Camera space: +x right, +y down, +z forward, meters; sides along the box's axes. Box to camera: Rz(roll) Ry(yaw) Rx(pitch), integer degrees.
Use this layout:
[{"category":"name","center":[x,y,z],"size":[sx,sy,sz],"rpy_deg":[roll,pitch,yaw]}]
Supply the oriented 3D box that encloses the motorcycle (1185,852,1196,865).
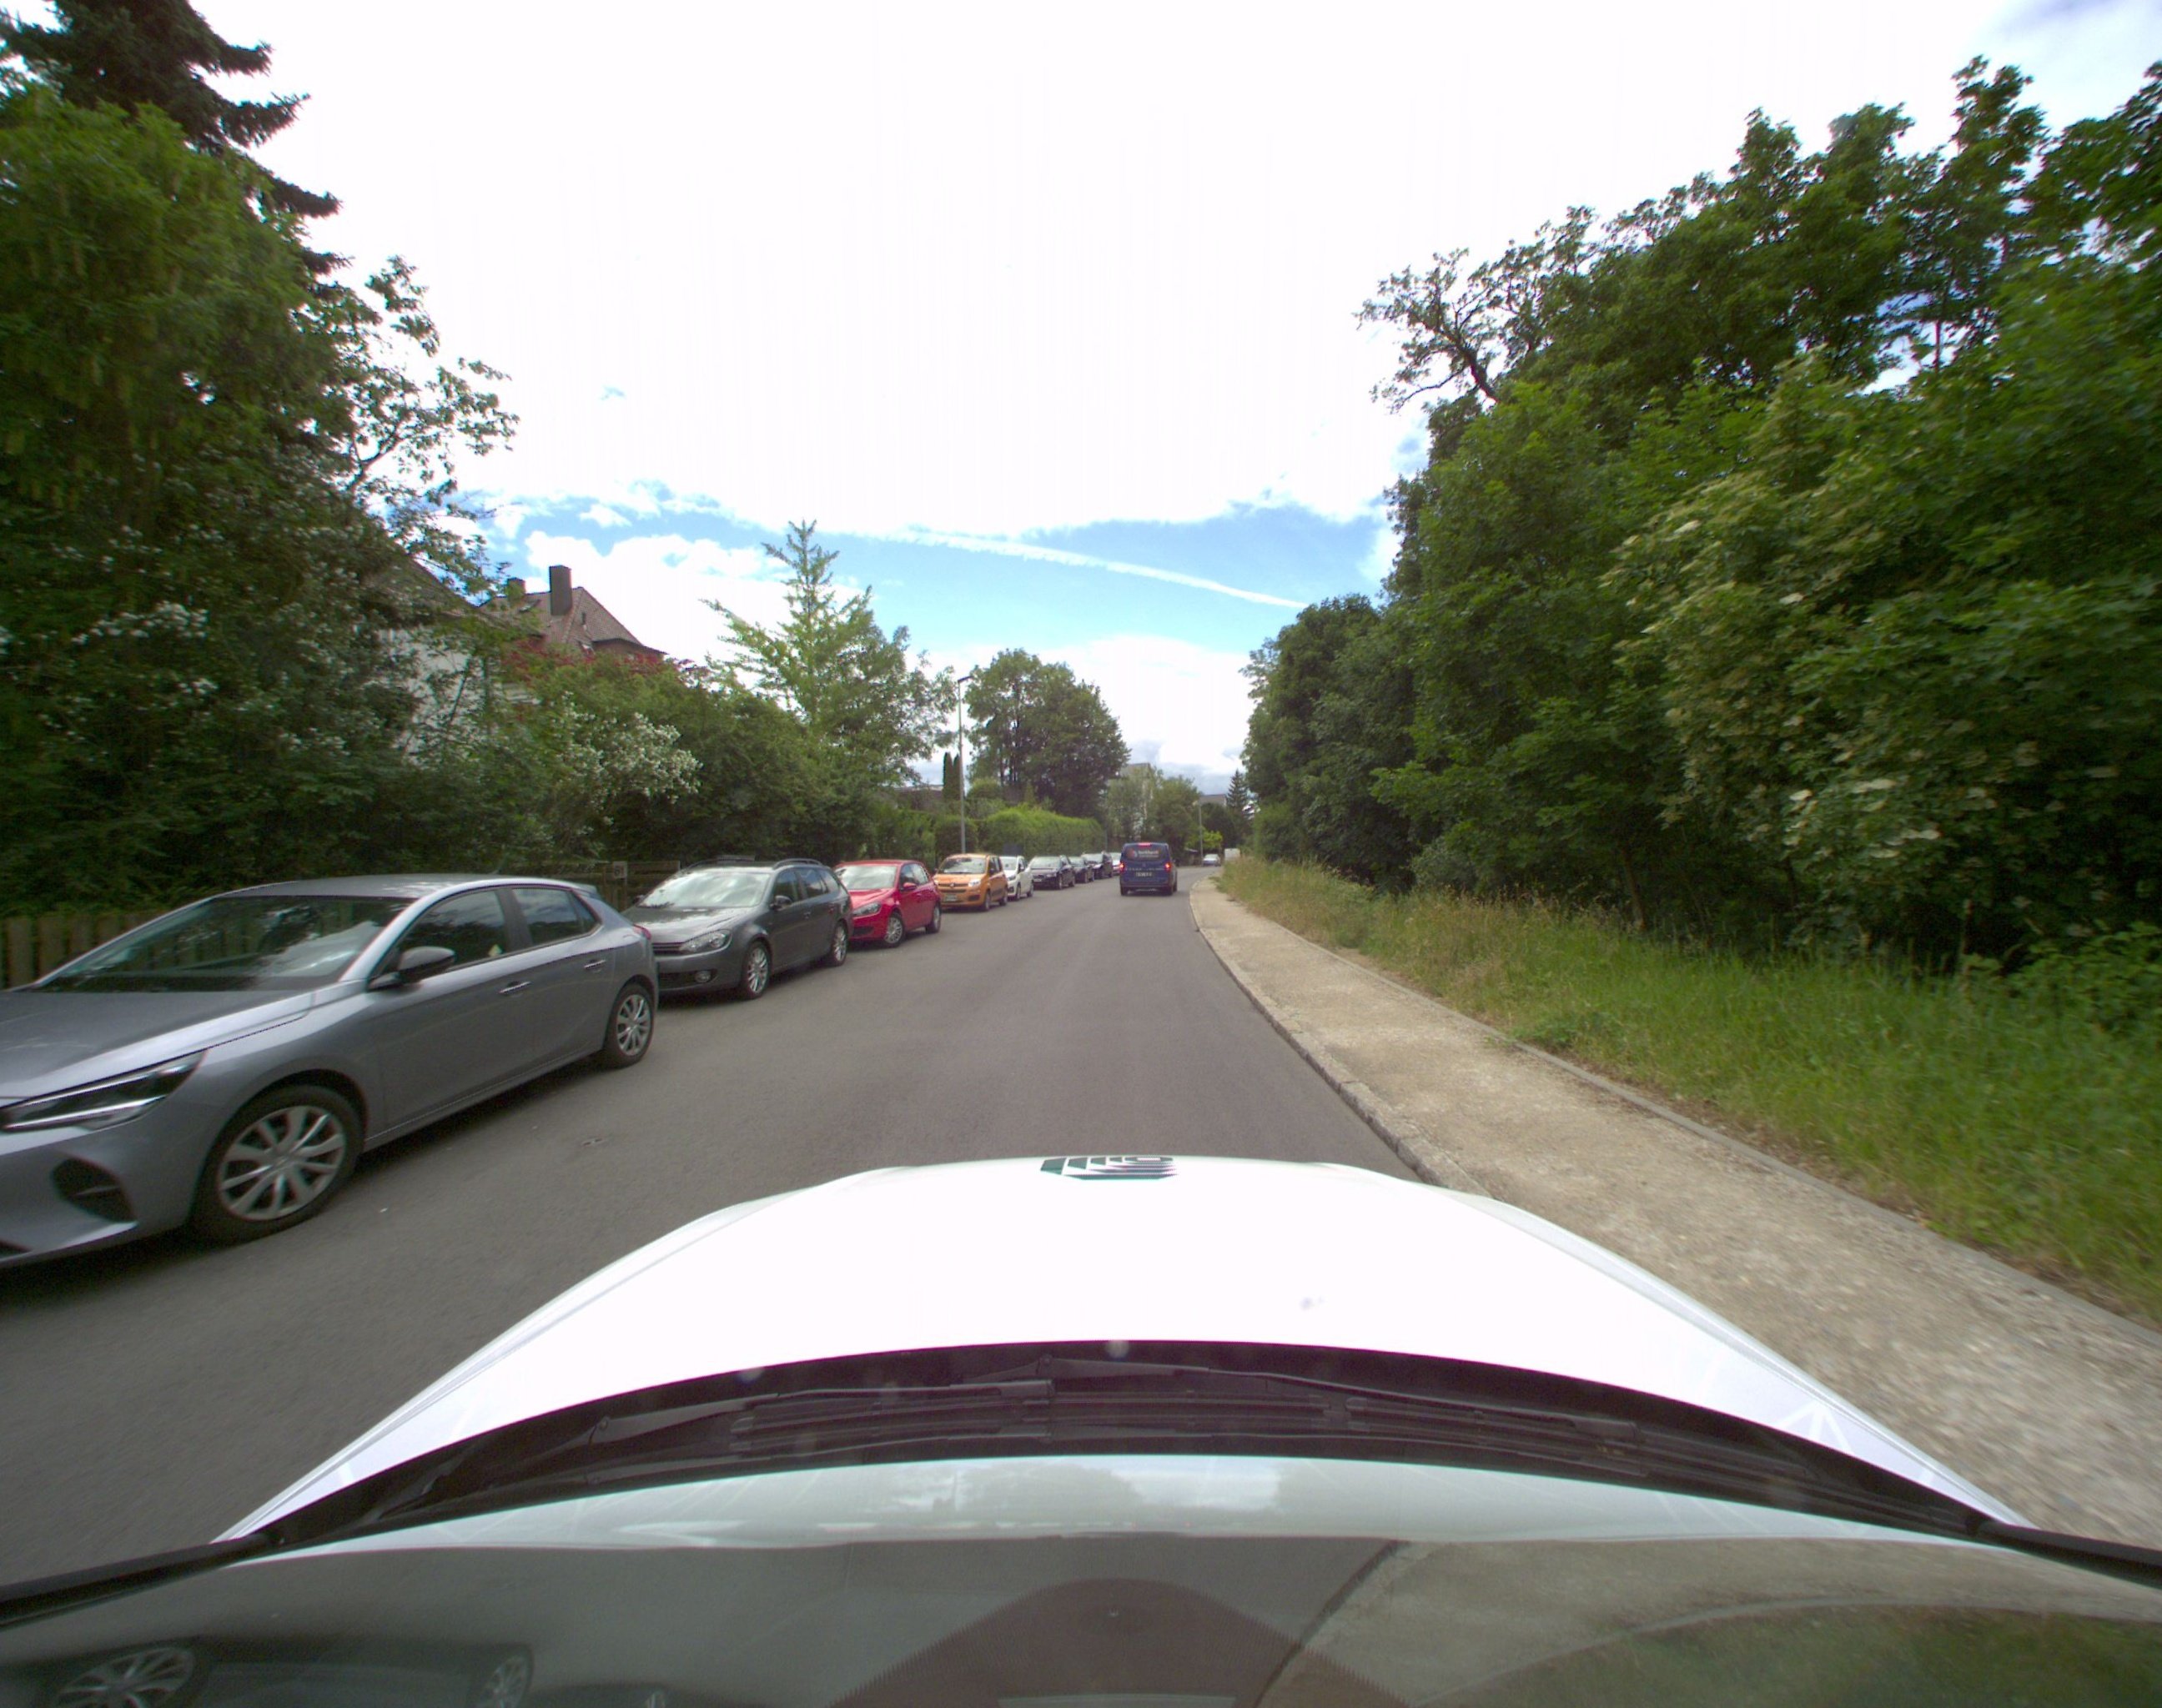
[{"category":"motorcycle","center":[13.543,0.561,100.616],"size":[0.803,1.485,2.910],"rpy_deg":[0,-1,21]}]

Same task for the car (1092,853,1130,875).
[{"category":"car","center":[1.966,0.614,52.378],"size":[1.763,1.374,4.354],"rpy_deg":[0,0,11]}]

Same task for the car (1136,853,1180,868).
[{"category":"car","center":[7.421,0.614,77.962],"size":[4.144,1.447,1.743],"rpy_deg":[0,-1,7]}]

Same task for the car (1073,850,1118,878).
[{"category":"car","center":[0.891,0.549,47.031],"size":[1.645,1.533,4.490],"rpy_deg":[0,0,13]}]

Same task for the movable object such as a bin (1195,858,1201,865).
[{"category":"movable object such as a bin","center":[14.715,0.990,102.439],"size":[0.585,0.909,0.704],"rpy_deg":[0,-1,25]}]

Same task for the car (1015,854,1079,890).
[{"category":"car","center":[-1.353,0.723,34.719],"size":[1.707,1.385,4.676],"rpy_deg":[-1,0,10]}]

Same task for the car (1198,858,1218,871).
[{"category":"car","center":[15.173,1.279,97.033],"size":[1.692,1.468,4.095],"rpy_deg":[0,-1,19]}]

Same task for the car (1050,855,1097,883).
[{"category":"car","center":[-0.313,0.723,41.240],"size":[1.701,1.341,4.118],"rpy_deg":[0,0,9]}]

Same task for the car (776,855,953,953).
[{"category":"car","center":[-3.717,0.783,14.867],"size":[1.698,1.514,4.370],"rpy_deg":[-1,0,5]}]

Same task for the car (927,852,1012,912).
[{"category":"car","center":[-3.021,0.723,22.756],"size":[1.536,1.514,3.649],"rpy_deg":[-1,0,5]}]

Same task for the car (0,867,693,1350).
[{"category":"car","center":[-4.040,0.820,4.570],"size":[1.701,1.410,4.160],"rpy_deg":[-1,0,0]}]

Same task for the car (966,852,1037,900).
[{"category":"car","center":[-2.590,0.689,27.305],"size":[1.579,1.514,3.598],"rpy_deg":[-1,0,7]}]

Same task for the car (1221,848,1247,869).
[{"category":"car","center":[16.008,0.447,85.042],"size":[2.190,2.064,6.159],"rpy_deg":[-1,0,15]}]

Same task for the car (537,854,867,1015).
[{"category":"car","center":[-4.190,0.764,9.955],"size":[1.699,1.514,4.499],"rpy_deg":[-1,0,3]}]

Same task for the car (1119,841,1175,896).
[{"category":"car","center":[2.511,0.498,30.514],"size":[1.927,1.880,4.537],"rpy_deg":[-1,0,5]}]
